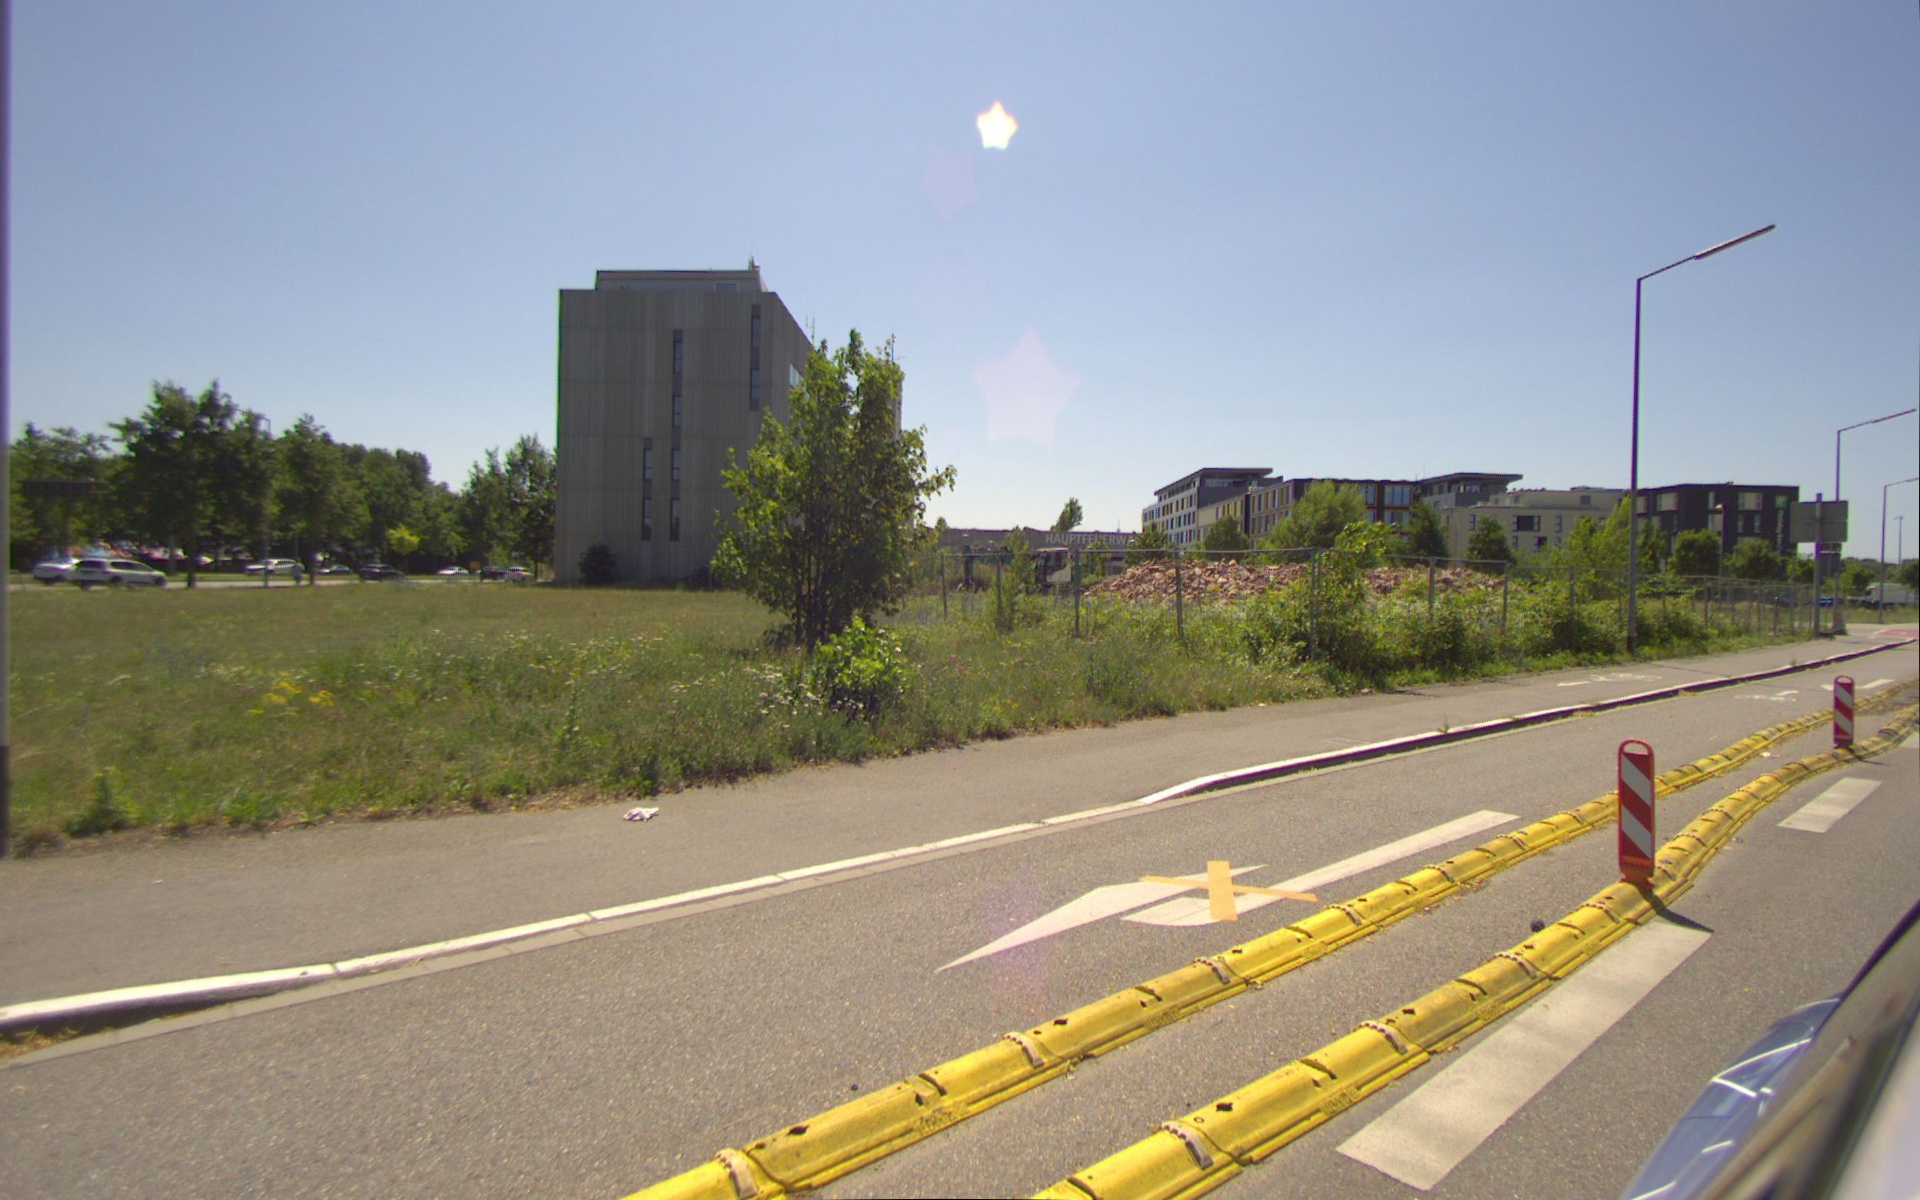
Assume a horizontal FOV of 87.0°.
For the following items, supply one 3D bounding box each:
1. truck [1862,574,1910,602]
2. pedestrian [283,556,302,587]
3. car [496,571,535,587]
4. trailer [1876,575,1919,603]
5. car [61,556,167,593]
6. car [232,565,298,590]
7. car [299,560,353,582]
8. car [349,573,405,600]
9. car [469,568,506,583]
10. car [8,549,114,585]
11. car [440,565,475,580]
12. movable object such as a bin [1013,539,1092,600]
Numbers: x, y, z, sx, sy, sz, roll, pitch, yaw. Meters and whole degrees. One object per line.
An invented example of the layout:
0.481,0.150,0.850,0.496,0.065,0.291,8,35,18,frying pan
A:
115.879,-1.481,126.717,3.928,3.377,1.998,1,1,4,truck
-34.016,-1.464,51.573,0.489,1.583,0.737,0,0,-1,pedestrian
-41.940,-1.996,95.538,1.604,1.462,4.015,0,1,6,car
119.674,-1.361,126.420,8.030,3.390,1.998,1,1,4,trailer
-43.685,-1.289,52.380,1.962,1.838,4.264,0,1,0,car
-58.464,-1.866,85.265,1.963,2.039,5.083,0,1,2,car
-61.542,-2.808,98.349,1.963,2.039,5.083,0,1,2,car
-45.413,-1.085,78.930,1.964,2.039,3.997,0,1,3,car
-48.072,-2.484,102.990,1.961,1.425,4.001,0,1,-1,car
-48.496,-1.747,54.716,1.962,1.838,4.264,0,1,0,car
-59.750,-3.308,120.399,1.964,1.738,3.996,0,1,4,car
4.942,-1.597,53.975,3.619,3.101,2.207,0,1,-35,movable object such as a bin
